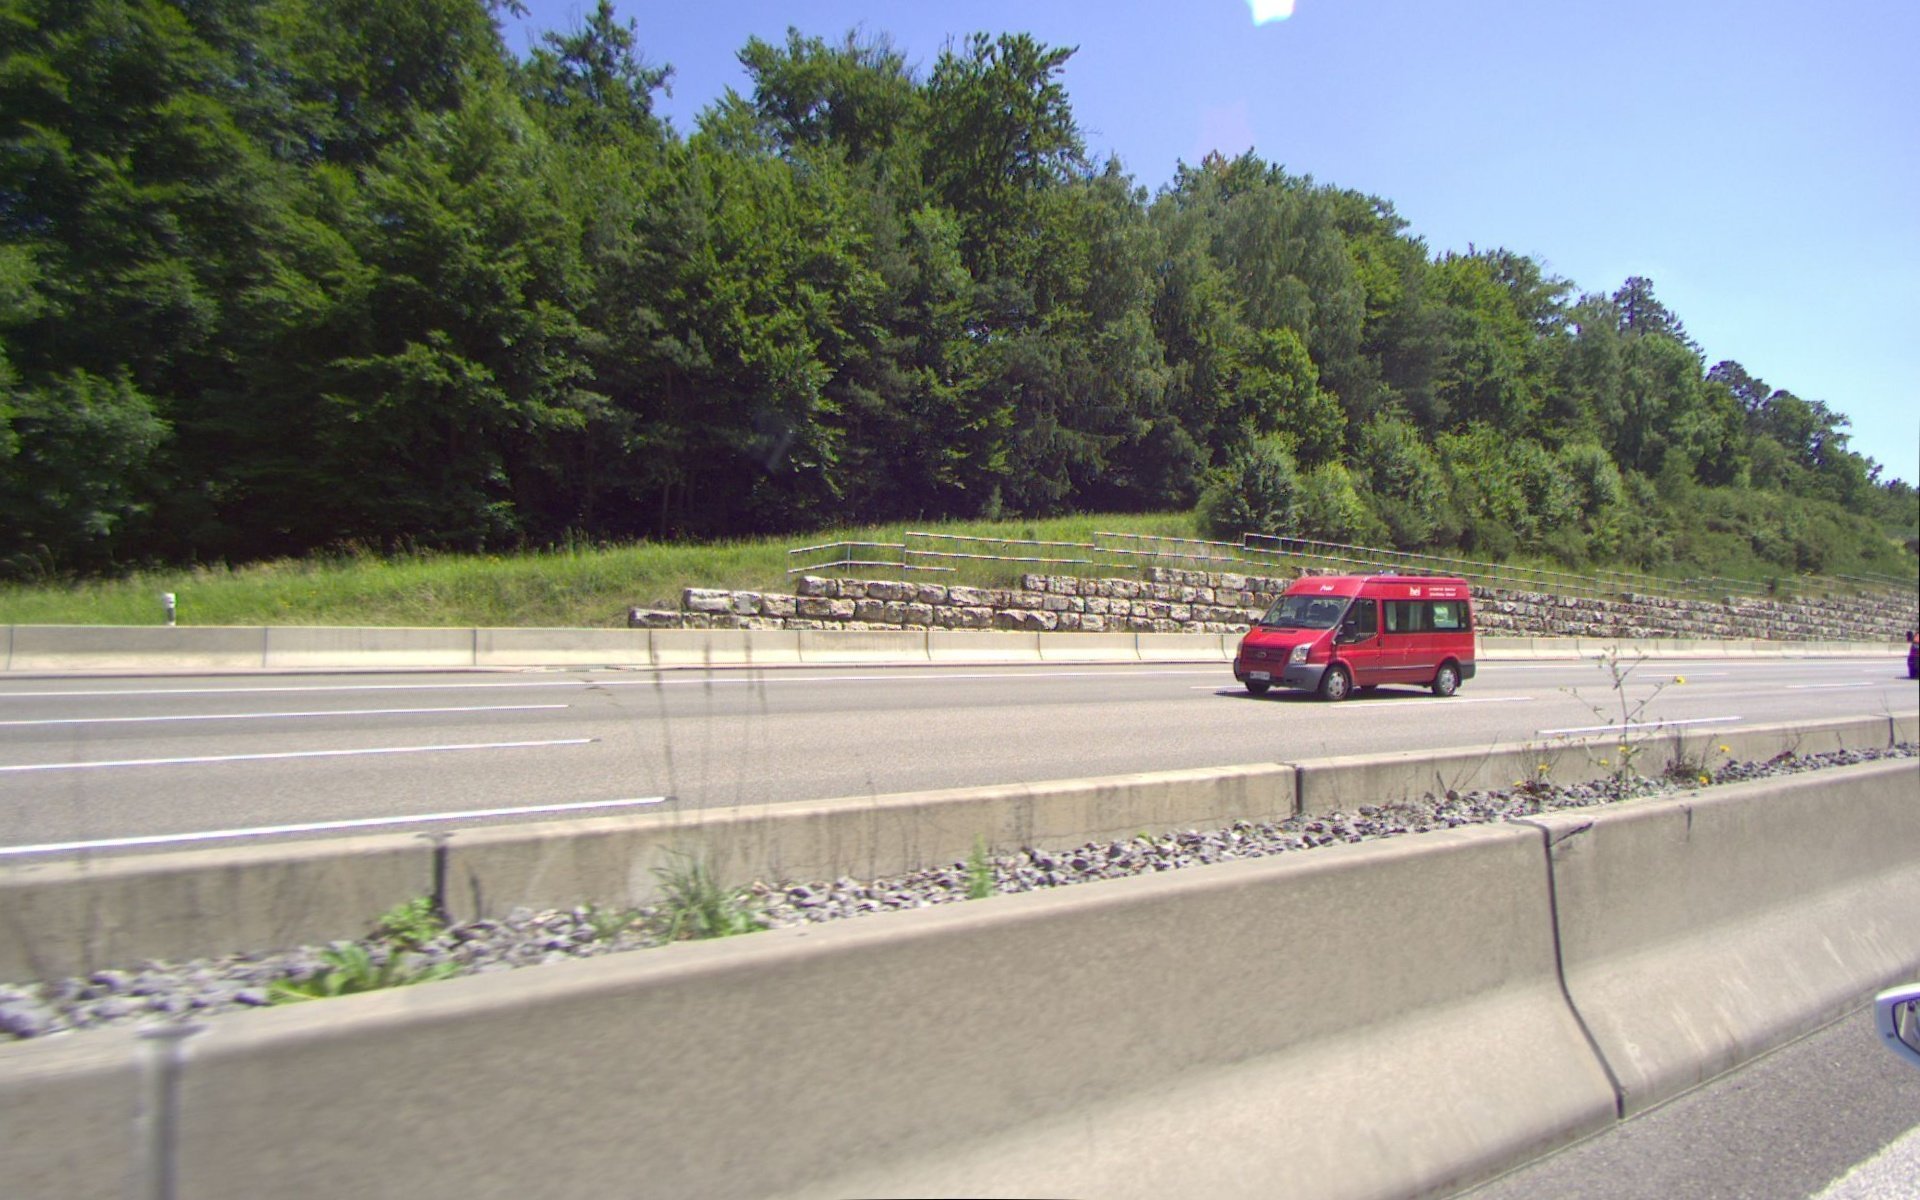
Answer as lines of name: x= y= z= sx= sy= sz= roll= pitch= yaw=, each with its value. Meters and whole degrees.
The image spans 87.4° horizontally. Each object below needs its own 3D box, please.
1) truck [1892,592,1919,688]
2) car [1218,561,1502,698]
truck: x=33.627 y=1.301 z=33.400 sx=6.936 sy=3.016 sz=2.098 roll=0 pitch=1 yaw=-32
car: x=7.788 y=0.524 z=19.361 sx=5.736 sy=2.317 sz=1.983 roll=1 pitch=1 yaw=-31
